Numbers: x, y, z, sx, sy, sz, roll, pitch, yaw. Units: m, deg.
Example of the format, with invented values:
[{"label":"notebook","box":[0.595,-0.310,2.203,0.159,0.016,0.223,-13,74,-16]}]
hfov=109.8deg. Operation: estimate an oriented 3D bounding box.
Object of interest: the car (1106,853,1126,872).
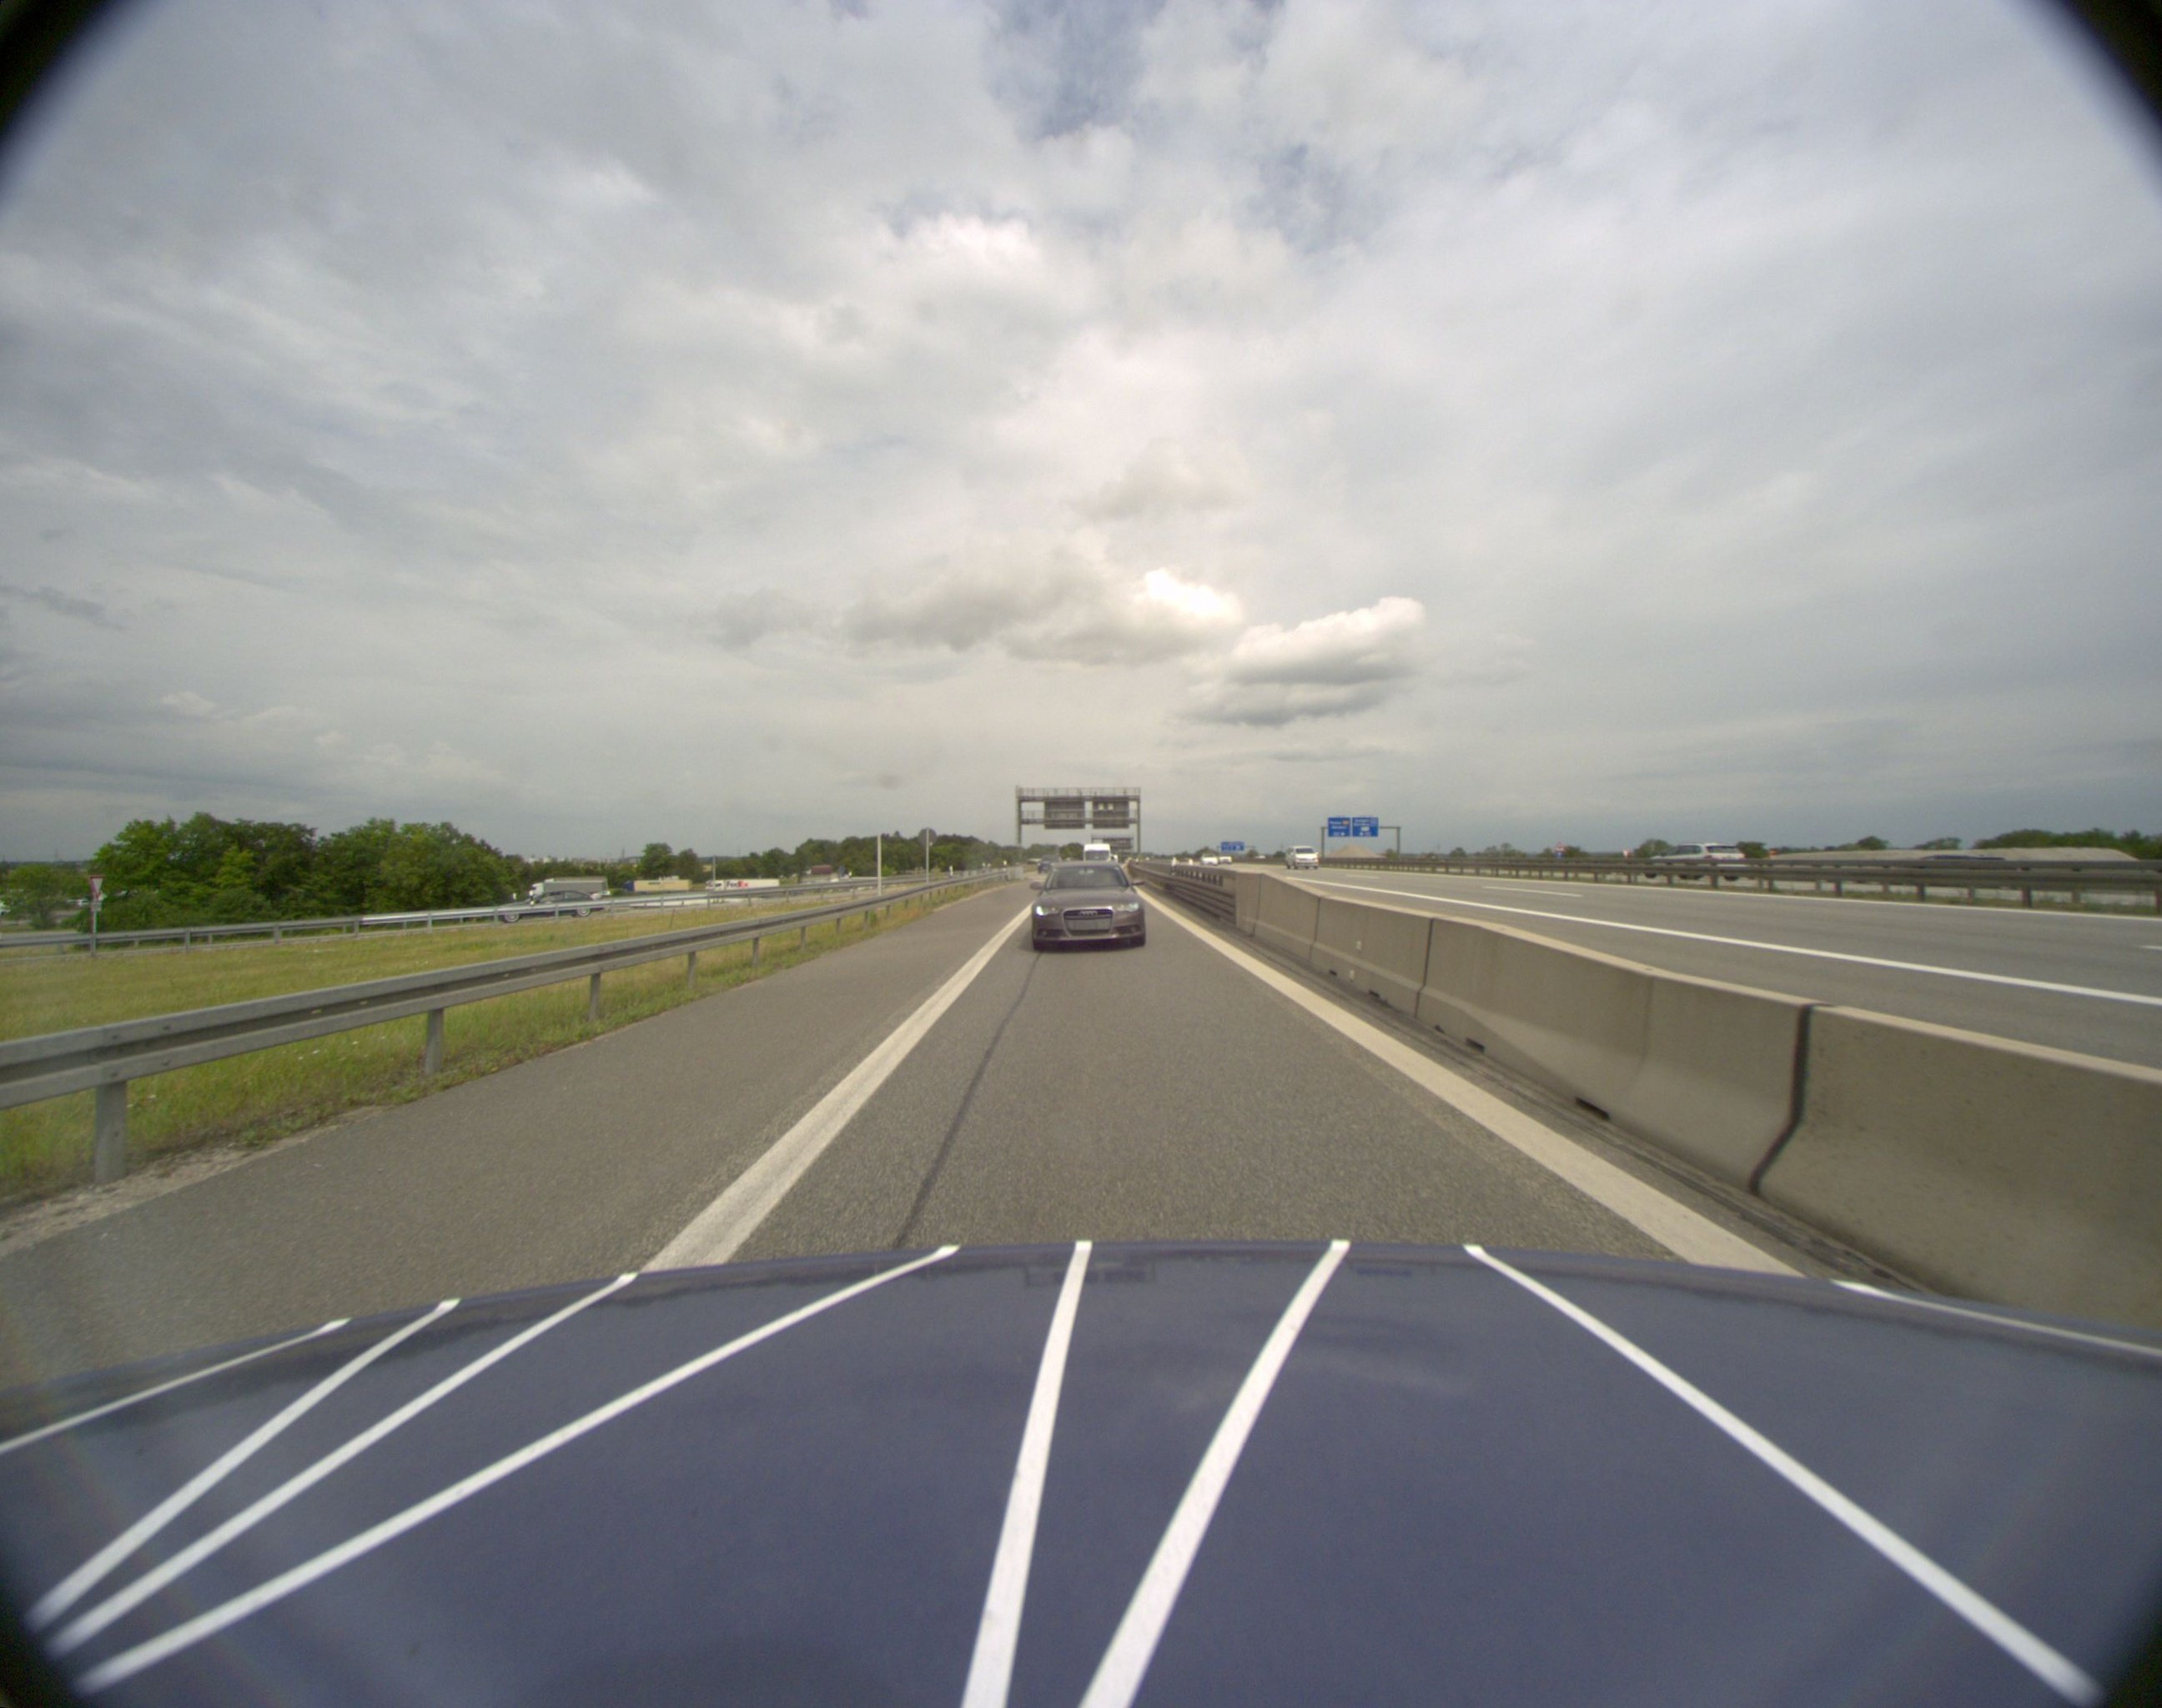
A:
[{"label":"car","box":[3.602,0.857,76.826,1.845,1.870,4.290,-2,-1,4]}]

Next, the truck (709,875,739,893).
[{"label":"truck","box":[-97.251,8.174,206.971,6.294,4.484,3.929,-2,0,-10]}]

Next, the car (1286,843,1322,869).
[{"label":"car","box":[18.933,0.189,64.672,1.998,2.001,4.467,-2,-1,4]}]

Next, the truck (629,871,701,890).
[{"label":"truck","box":[-112.019,7.047,204.729,16.368,4.527,4.005,-2,-1,-10]}]

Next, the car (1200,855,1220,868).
[{"label":"car","box":[17.070,1.000,100.502,1.998,1.739,4.001,-2,-1,2]}]

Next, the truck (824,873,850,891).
[{"label":"truck","box":[-68.544,7.853,213.243,6.294,4.647,3.929,-2,0,-11]}]

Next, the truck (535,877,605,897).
[{"label":"truck","box":[-134.458,8.662,200.017,14.886,4.527,4.005,-2,-1,-10]}]

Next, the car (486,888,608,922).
[{"label":"car","box":[-24.560,2.300,35.043,4.374,1.273,1.705,-1,-1,-44]}]

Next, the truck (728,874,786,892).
[{"label":"truck","box":[-88.788,7.897,208.595,13.793,4.527,4.005,-2,-1,-11]}]

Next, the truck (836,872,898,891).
[{"label":"truck","box":[-60.310,7.709,214.717,16.176,4.672,3.990,-2,0,-10]}]

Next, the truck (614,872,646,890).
[{"label":"truck","box":[-120.514,7.320,203.126,6.294,4.484,3.929,-2,0,-10]}]

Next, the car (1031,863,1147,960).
[{"label":"car","box":[0.199,0.905,13.679,1.747,1.380,4.000,-2,0,2]}]

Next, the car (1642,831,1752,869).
[{"label":"car","box":[29.284,-0.153,36.305,1.748,1.613,4.519,-2,-1,4]}]

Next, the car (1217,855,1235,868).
[{"label":"car","box":[21.727,1.175,114.178,1.998,1.870,4.001,-2,-1,2]}]

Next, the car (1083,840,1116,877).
[{"label":"car","box":[1.365,0.381,54.734,2.119,2.439,6.153,-2,-1,2]}]

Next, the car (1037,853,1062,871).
[{"label":"car","box":[-3.205,0.816,78.352,1.928,1.761,4.002,-2,-1,6]}]
